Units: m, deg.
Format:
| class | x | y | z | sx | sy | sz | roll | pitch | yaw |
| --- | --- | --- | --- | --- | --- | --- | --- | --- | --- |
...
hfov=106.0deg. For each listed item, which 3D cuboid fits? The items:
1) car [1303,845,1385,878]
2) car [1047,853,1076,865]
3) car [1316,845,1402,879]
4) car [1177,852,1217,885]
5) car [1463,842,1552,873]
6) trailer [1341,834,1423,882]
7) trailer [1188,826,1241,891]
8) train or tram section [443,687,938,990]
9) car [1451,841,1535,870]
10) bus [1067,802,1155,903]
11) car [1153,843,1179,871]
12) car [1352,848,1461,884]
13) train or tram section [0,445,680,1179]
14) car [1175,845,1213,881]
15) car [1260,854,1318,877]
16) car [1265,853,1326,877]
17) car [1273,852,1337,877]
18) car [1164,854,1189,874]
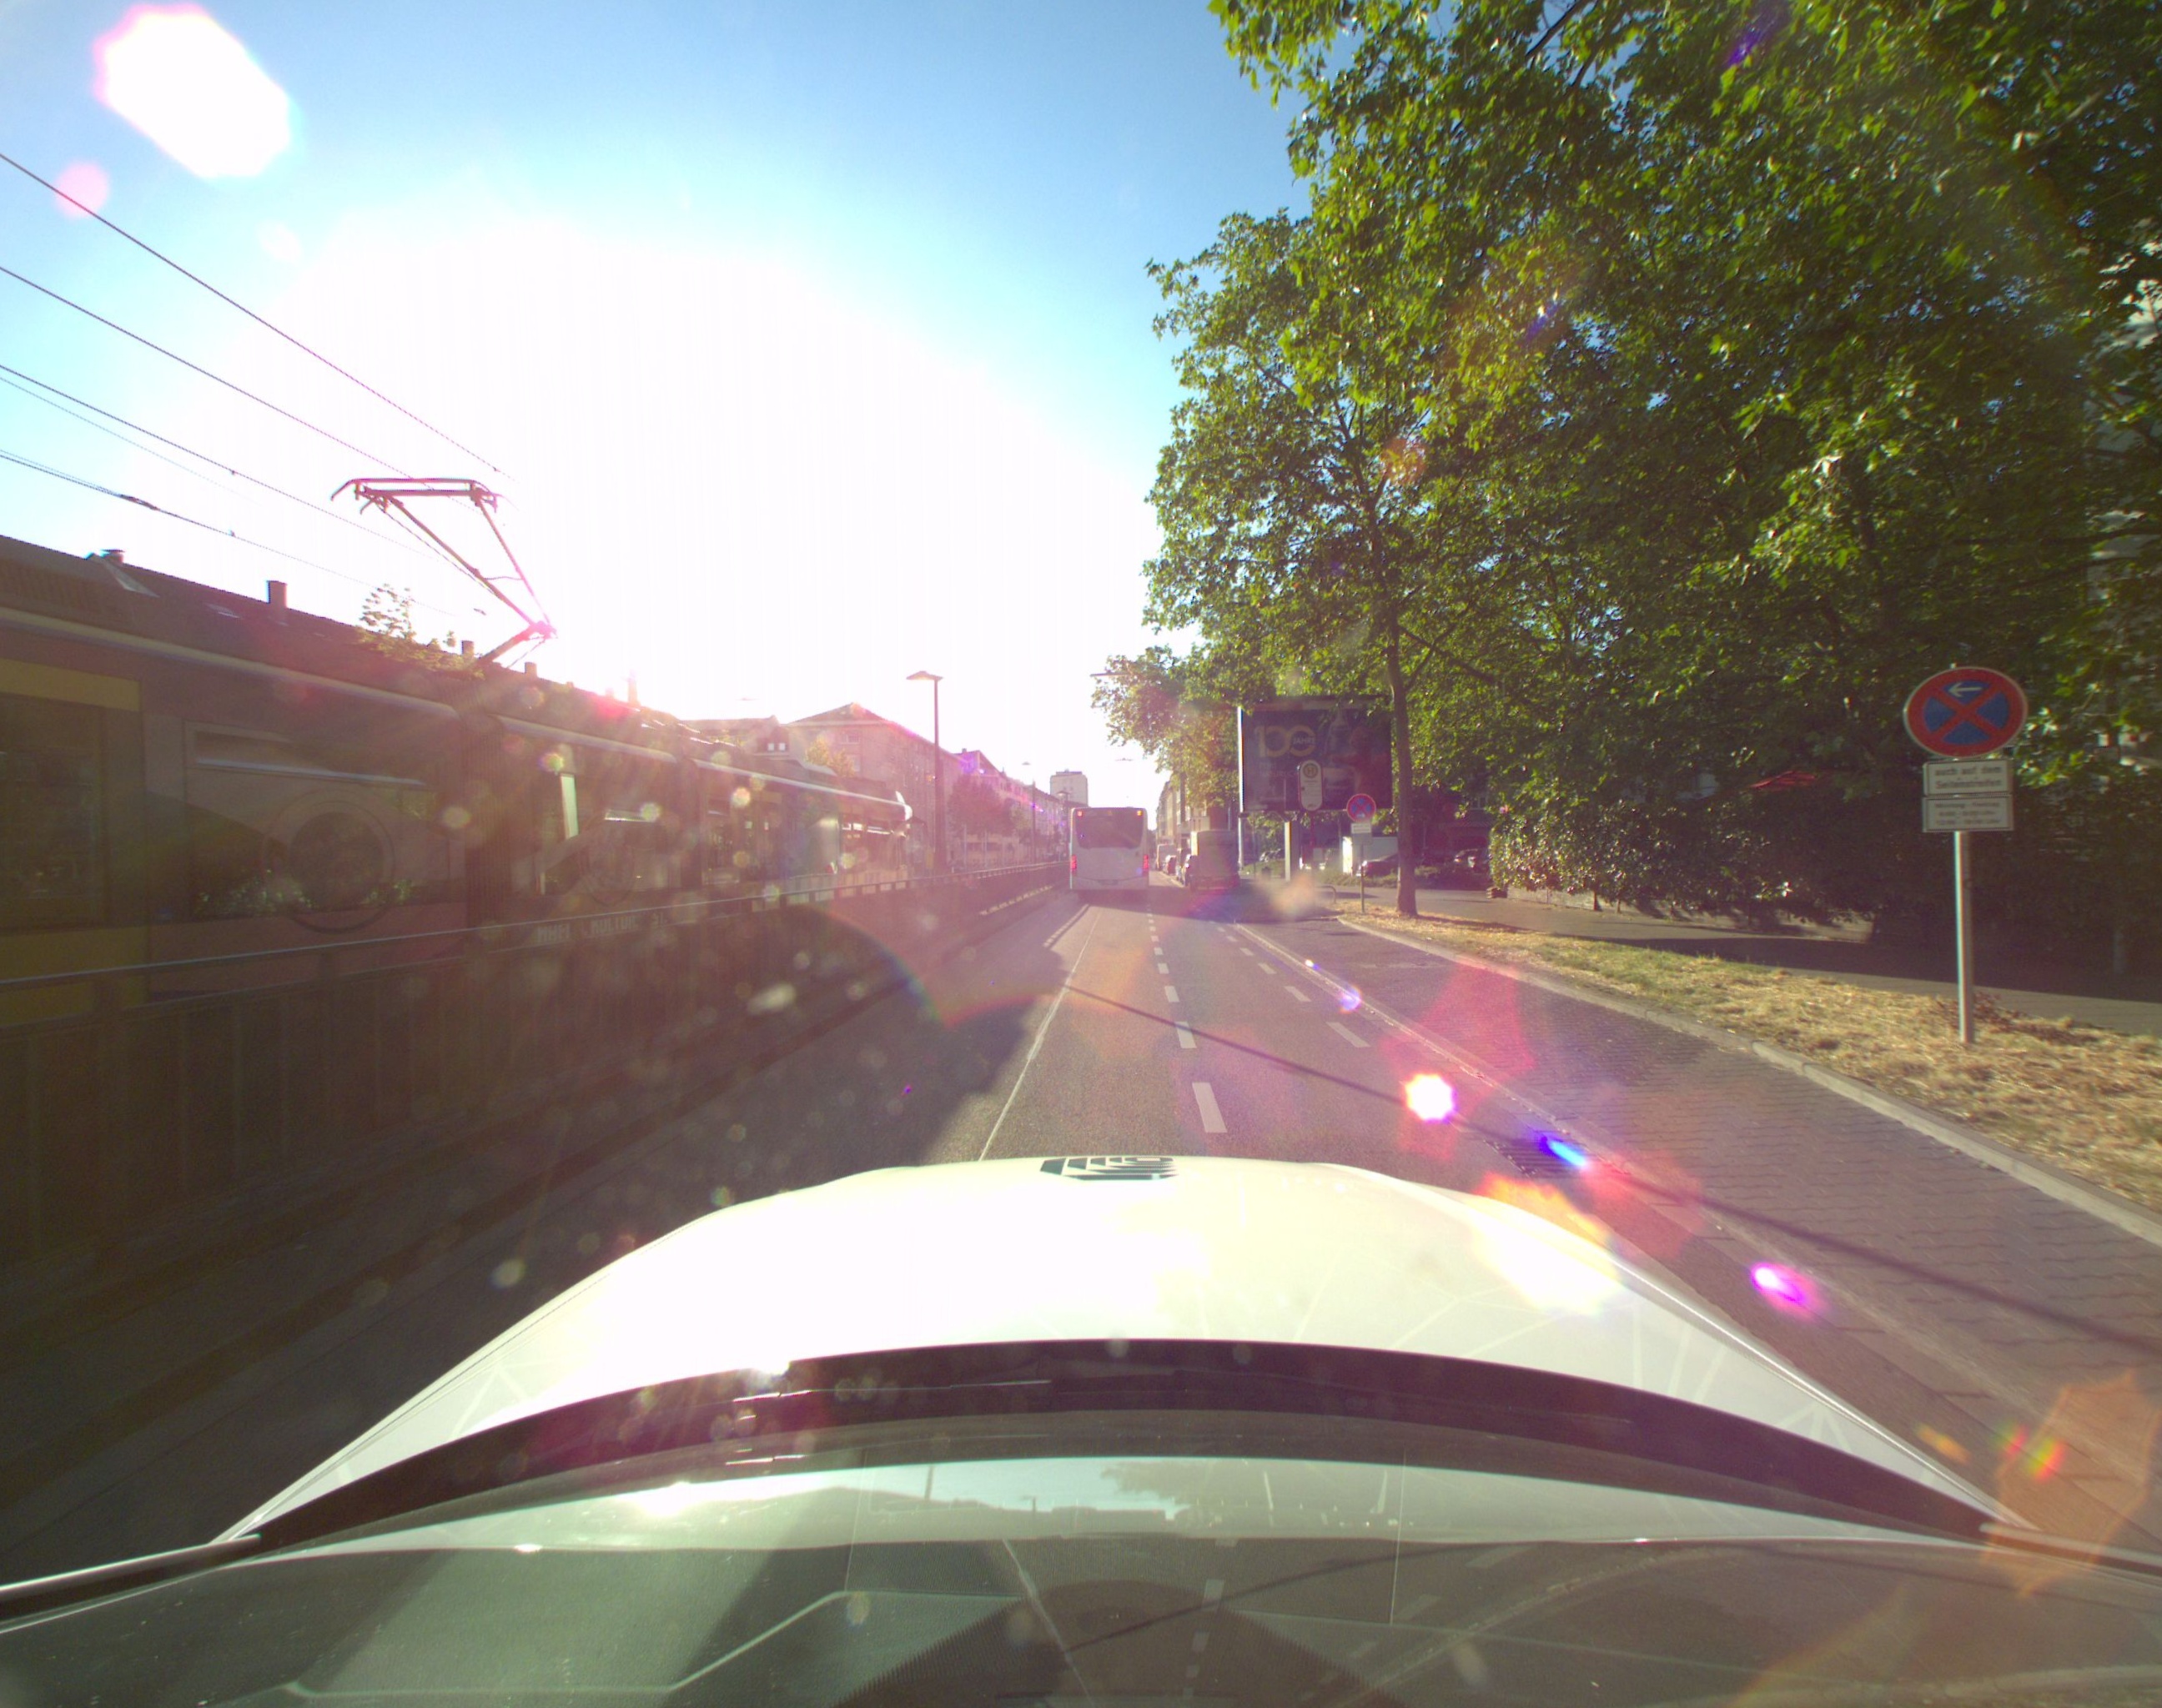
| class | x | y | z | sx | sy | sz | roll | pitch | yaw |
| --- | --- | --- | --- | --- | --- | --- | --- | --- | --- |
| car | 14.303 | 0.399 | 44.451 | 3.903 | 1.637 | 1.708 | -2 | -1 | 3 |
| car | -2.837 | 0.784 | 119.492 | 4.120 | 1.618 | 2.001 | -1 | 0 | 1 |
| car | 14.321 | 0.426 | 42.082 | 3.903 | 1.636 | 1.708 | -2 | -1 | 3 |
| car | 5.885 | 0.715 | 41.684 | 1.693 | 1.588 | 3.831 | -2 | 0 | 4 |
| car | 25.316 | 0.215 | 48.482 | 4.259 | 1.642 | 1.874 | -3 | -1 | 3 |
| trailer | 13.555 | 0.199 | 36.834 | 3.050 | 2.069 | 1.881 | -1 | 0 | 4 |
| trailer | 5.595 | 0.175 | 34.418 | 1.824 | 2.557 | 3.322 | -2 | 0 | 4 |
| train or tram section | -5.811 | -0.173 | 16.294 | 2.629 | 3.519 | 13.347 | -1 | 0 | 4 |
| car | 25.670 | 0.095 | 50.865 | 4.259 | 1.642 | 1.874 | -1 | 0 | 3 |
| bus | 1.315 | -0.049 | 31.020 | 2.721 | 3.139 | 10.715 | -1 | 0 | 4 |
| car | 8.260 | 0.325 | 79.583 | 2.272 | 2.627 | 5.314 | -2 | -1 | 4 |
| car | 13.586 | 0.498 | 34.135 | 3.902 | 1.336 | 1.708 | -2 | -1 | 4 |
| train or tram section | -6.611 | -0.184 | 3.415 | 2.717 | 3.549 | 12.797 | -1 | 0 | 4 |
| car | 6.540 | 0.539 | 47.581 | 1.839 | 1.956 | 4.548 | -2 | -1 | 4 |
| car | 15.430 | 0.867 | 60.589 | 3.903 | 1.588 | 1.708 | -2 | -1 | 3 |
| car | 15.263 | 0.791 | 58.160 | 3.903 | 1.588 | 1.708 | -2 | -1 | 3 |
| car | 15.308 | 0.715 | 55.813 | 3.903 | 1.588 | 1.708 | -2 | -1 | 3 |
| car | 7.423 | 0.772 | 63.564 | 1.664 | 1.463 | 3.937 | -3 | -1 | 4 |
